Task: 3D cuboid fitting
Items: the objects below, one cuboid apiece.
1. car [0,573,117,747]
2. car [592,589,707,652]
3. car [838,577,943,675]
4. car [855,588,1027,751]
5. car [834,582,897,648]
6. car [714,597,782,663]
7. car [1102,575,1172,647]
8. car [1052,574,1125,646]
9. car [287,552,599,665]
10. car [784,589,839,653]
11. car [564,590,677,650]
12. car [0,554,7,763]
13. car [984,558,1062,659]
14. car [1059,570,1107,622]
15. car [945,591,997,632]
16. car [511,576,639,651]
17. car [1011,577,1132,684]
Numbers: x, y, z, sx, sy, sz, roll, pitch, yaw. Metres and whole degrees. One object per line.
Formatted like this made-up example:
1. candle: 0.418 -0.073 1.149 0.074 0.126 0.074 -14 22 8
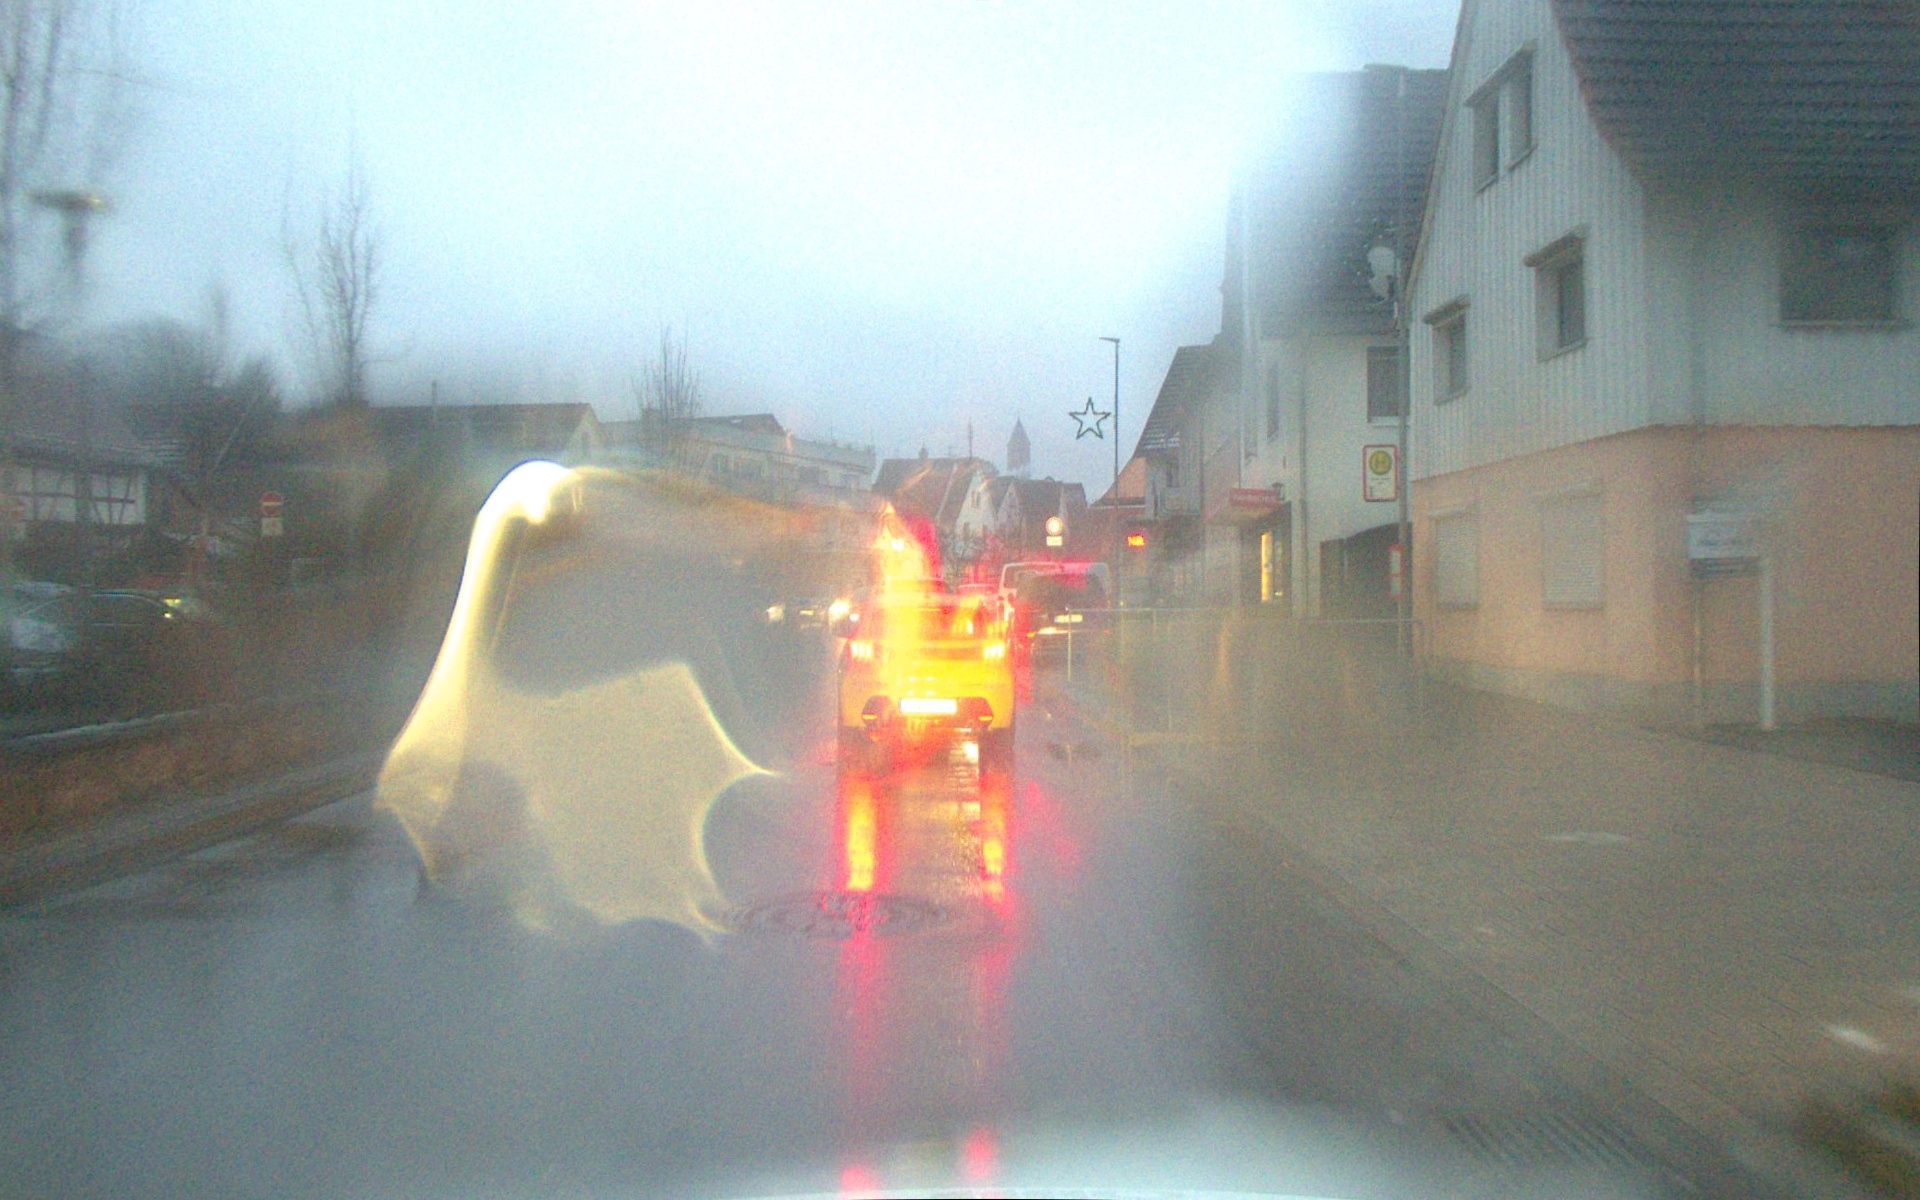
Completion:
1. car: -9.827 0.478 14.981 3.471 1.472 1.710 1 -1 2
2. car: -11.485 0.765 61.071 4.308 2.204 1.987 -1 -3 42
3. car: -1.223 0.437 30.353 1.730 1.657 3.586 1 0 0
4. car: -0.216 0.628 16.500 1.531 1.437 3.016 1 0 -2
5. car: -3.254 0.552 57.606 1.953 2.149 3.999 1 -2 -1
6. car: -6.933 1.017 54.408 1.881 2.063 3.972 1 -2 -4
7. car: 6.049 0.423 56.936 1.953 2.288 3.999 1 -2 0
8. car: 3.931 0.353 51.279 1.832 2.033 4.442 1 -2 -1
9. car: -9.532 0.146 30.571 5.281 1.849 1.713 2 0 12
10. car: -5.562 0.829 62.368 1.881 2.254 3.972 1 -2 -4
11. car: -11.979 0.727 58.274 4.095 2.011 1.811 -1 -3 43
12. car: -9.721 0.447 12.500 4.080 1.673 1.659 0 0 2
13. car: 1.634 0.291 44.280 1.832 2.512 4.442 1 -2 -1
14. car: 4.957 -0.118 66.510 1.831 1.867 4.445 1 -2 5
15. car: 0.485 0.505 68.883 1.455 1.553 3.417 1 -2 12
16. car: -12.634 0.461 54.168 4.308 2.291 1.987 -1 -3 42
17. car: 2.076 0.568 31.926 1.957 1.897 4.081 1 -1 -1
